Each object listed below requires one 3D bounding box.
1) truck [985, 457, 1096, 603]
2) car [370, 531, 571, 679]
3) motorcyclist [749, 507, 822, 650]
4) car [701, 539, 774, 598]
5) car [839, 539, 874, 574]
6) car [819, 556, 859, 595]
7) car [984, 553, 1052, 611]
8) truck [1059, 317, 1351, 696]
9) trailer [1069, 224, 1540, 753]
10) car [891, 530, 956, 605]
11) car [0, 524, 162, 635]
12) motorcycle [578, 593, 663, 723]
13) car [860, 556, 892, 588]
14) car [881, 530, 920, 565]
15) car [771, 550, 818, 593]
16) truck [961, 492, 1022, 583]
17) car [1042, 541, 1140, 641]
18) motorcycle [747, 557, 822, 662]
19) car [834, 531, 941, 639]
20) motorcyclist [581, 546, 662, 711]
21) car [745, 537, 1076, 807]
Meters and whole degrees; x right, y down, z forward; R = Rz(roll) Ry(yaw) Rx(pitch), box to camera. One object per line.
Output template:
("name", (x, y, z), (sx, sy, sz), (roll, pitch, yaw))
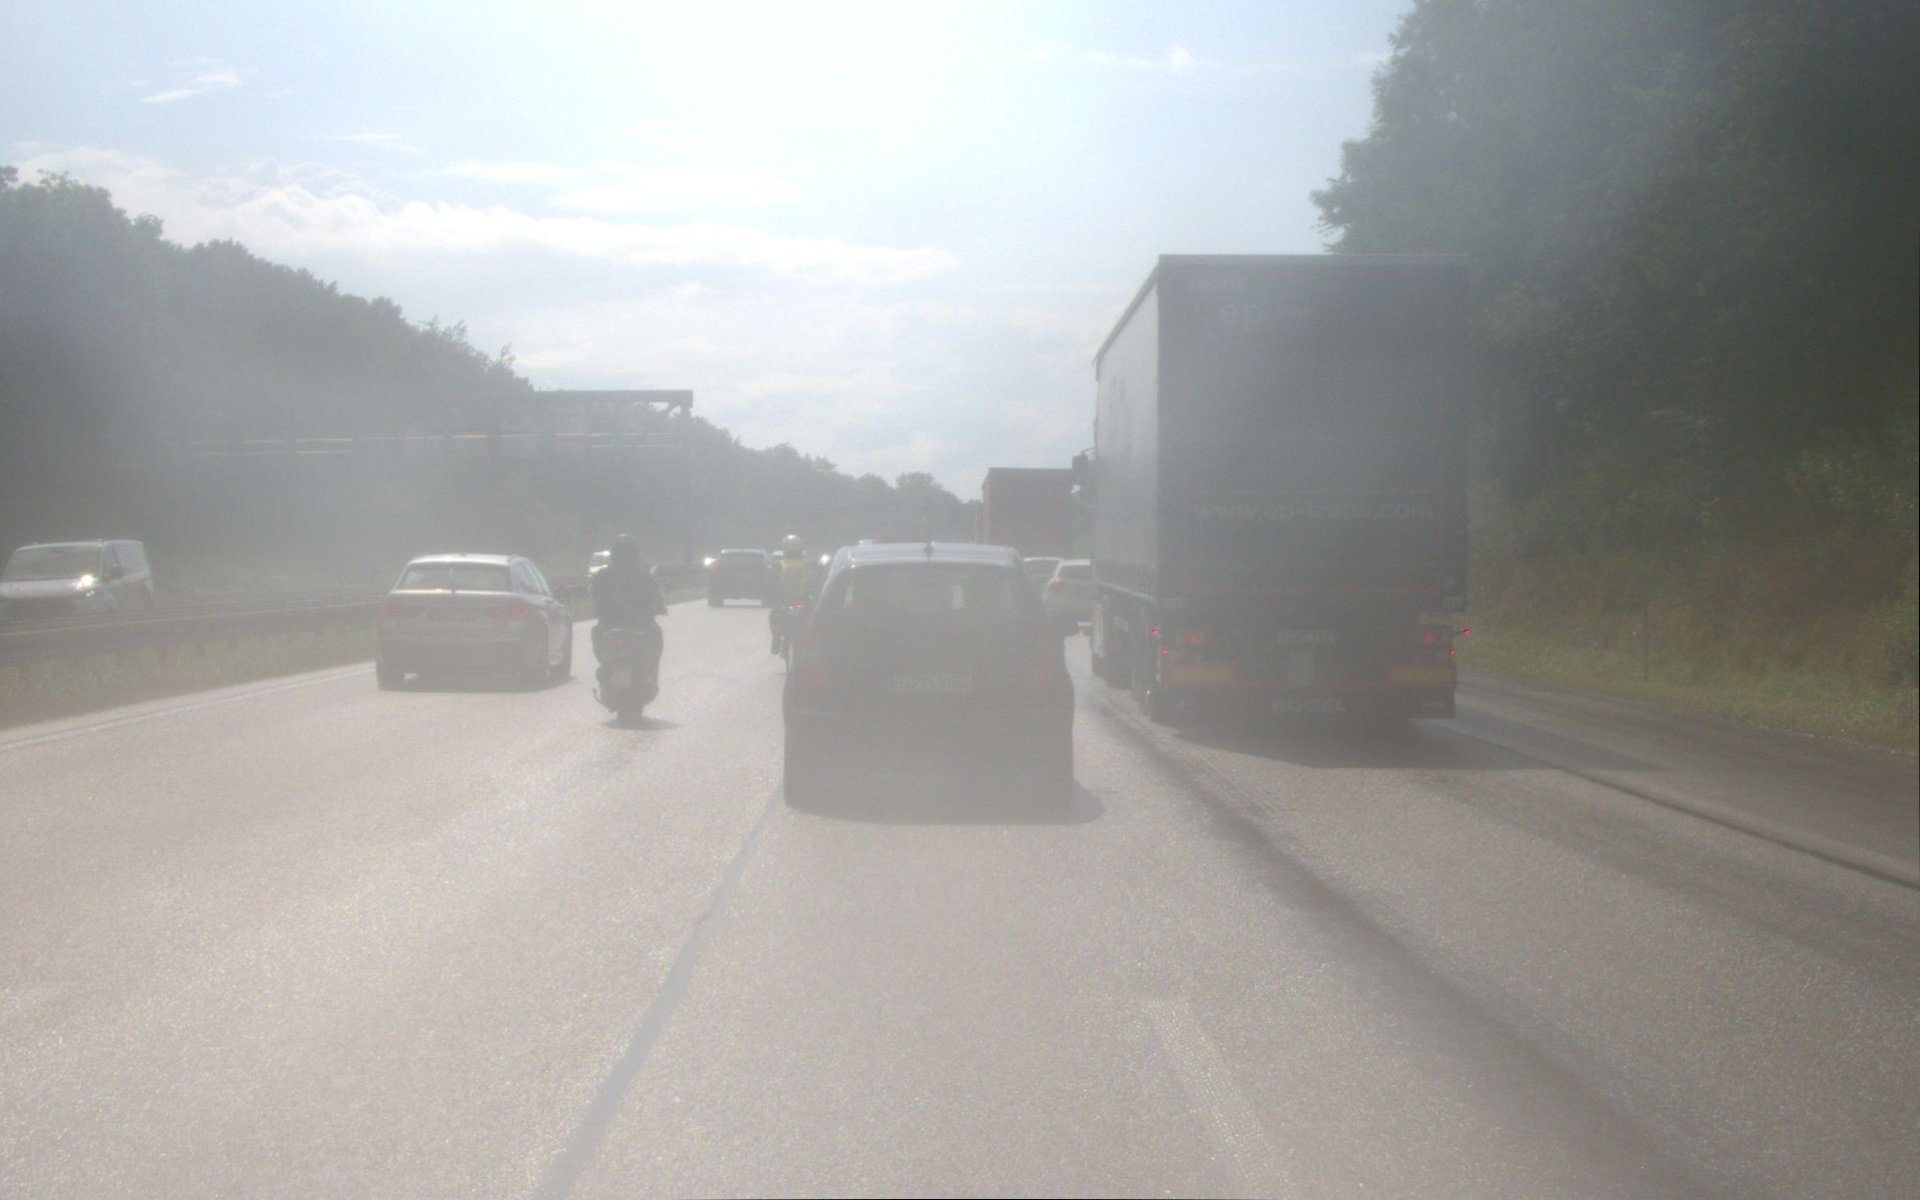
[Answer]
("truck", (2.465, -2.176, 108.652), (3.202, 4.389, 9.432), (0, 1, 0))
("car", (-5.536, 0.021, 39.338), (1.758, 1.589, 4.331), (0, 1, -1))
("motorcyclist", (-2.177, -0.272, 42.992), (0.821, 1.755, 1.390), (1, 0, 0))
("car", (-6.348, -0.912, 98.274), (1.893, 1.622, 4.195), (0, 1, -1))
("car", (-6.007, -2.509, 200.180), (1.993, 2.007, 4.000), (1, 0, -1))
("car", (-6.370, -1.298, 181.230), (1.993, 2.007, 4.000), (1, 0, -1))
("car", (1.513, -0.491, 90.574), (1.675, 1.485, 3.437), (0, 1, -1))
("truck", (2.902, -1.113, 42.406), (3.052, 4.310, 5.886), (1, 1, -1))
("trailer", (3.038, -1.008, 35.131), (3.088, 4.298, 14.106), (0, 1, -1))
("car", (-0.977, -0.861, 91.152), (1.675, 1.929, 3.774), (0, 1, -1))
("car", (-15.648, -0.390, 60.757), (1.993, 1.828, 4.619), (2, 1, -1))
("motorcycle", (-2.992, 0.495, 30.436), (0.676, 1.083, 1.982), (1, 1, -4))
("car", (-5.394, -1.803, 220.294), (1.993, 2.007, 4.000), (1, 0, -1))
("car", (-2.554, -2.240, 147.685), (1.631, 1.485, 3.437), (0, 1, -1))
("car", (-6.255, -1.085, 129.982), (1.675, 1.591, 3.437), (0, 1, -1))
("truck", (1.630, -3.308, 184.017), (2.882, 4.671, 12.659), (1, 0, -1))
("car", (2.699, -0.198, 71.654), (1.849, 2.007, 4.087), (1, 0, 0))
("motorcycle", (-2.184, 0.102, 43.044), (0.819, 1.258, 2.117), (1, 1, 0))
("car", (-1.418, -0.301, 66.583), (1.993, 2.007, 4.000), (1, 0, -1))
("motorcyclist", (-2.998, 0.243, 30.523), (0.670, 1.437, 1.020), (1, 0, -4))
("car", (-0.328, 0.388, 22.150), (1.915, 1.560, 4.314), (0, 1, -1))
